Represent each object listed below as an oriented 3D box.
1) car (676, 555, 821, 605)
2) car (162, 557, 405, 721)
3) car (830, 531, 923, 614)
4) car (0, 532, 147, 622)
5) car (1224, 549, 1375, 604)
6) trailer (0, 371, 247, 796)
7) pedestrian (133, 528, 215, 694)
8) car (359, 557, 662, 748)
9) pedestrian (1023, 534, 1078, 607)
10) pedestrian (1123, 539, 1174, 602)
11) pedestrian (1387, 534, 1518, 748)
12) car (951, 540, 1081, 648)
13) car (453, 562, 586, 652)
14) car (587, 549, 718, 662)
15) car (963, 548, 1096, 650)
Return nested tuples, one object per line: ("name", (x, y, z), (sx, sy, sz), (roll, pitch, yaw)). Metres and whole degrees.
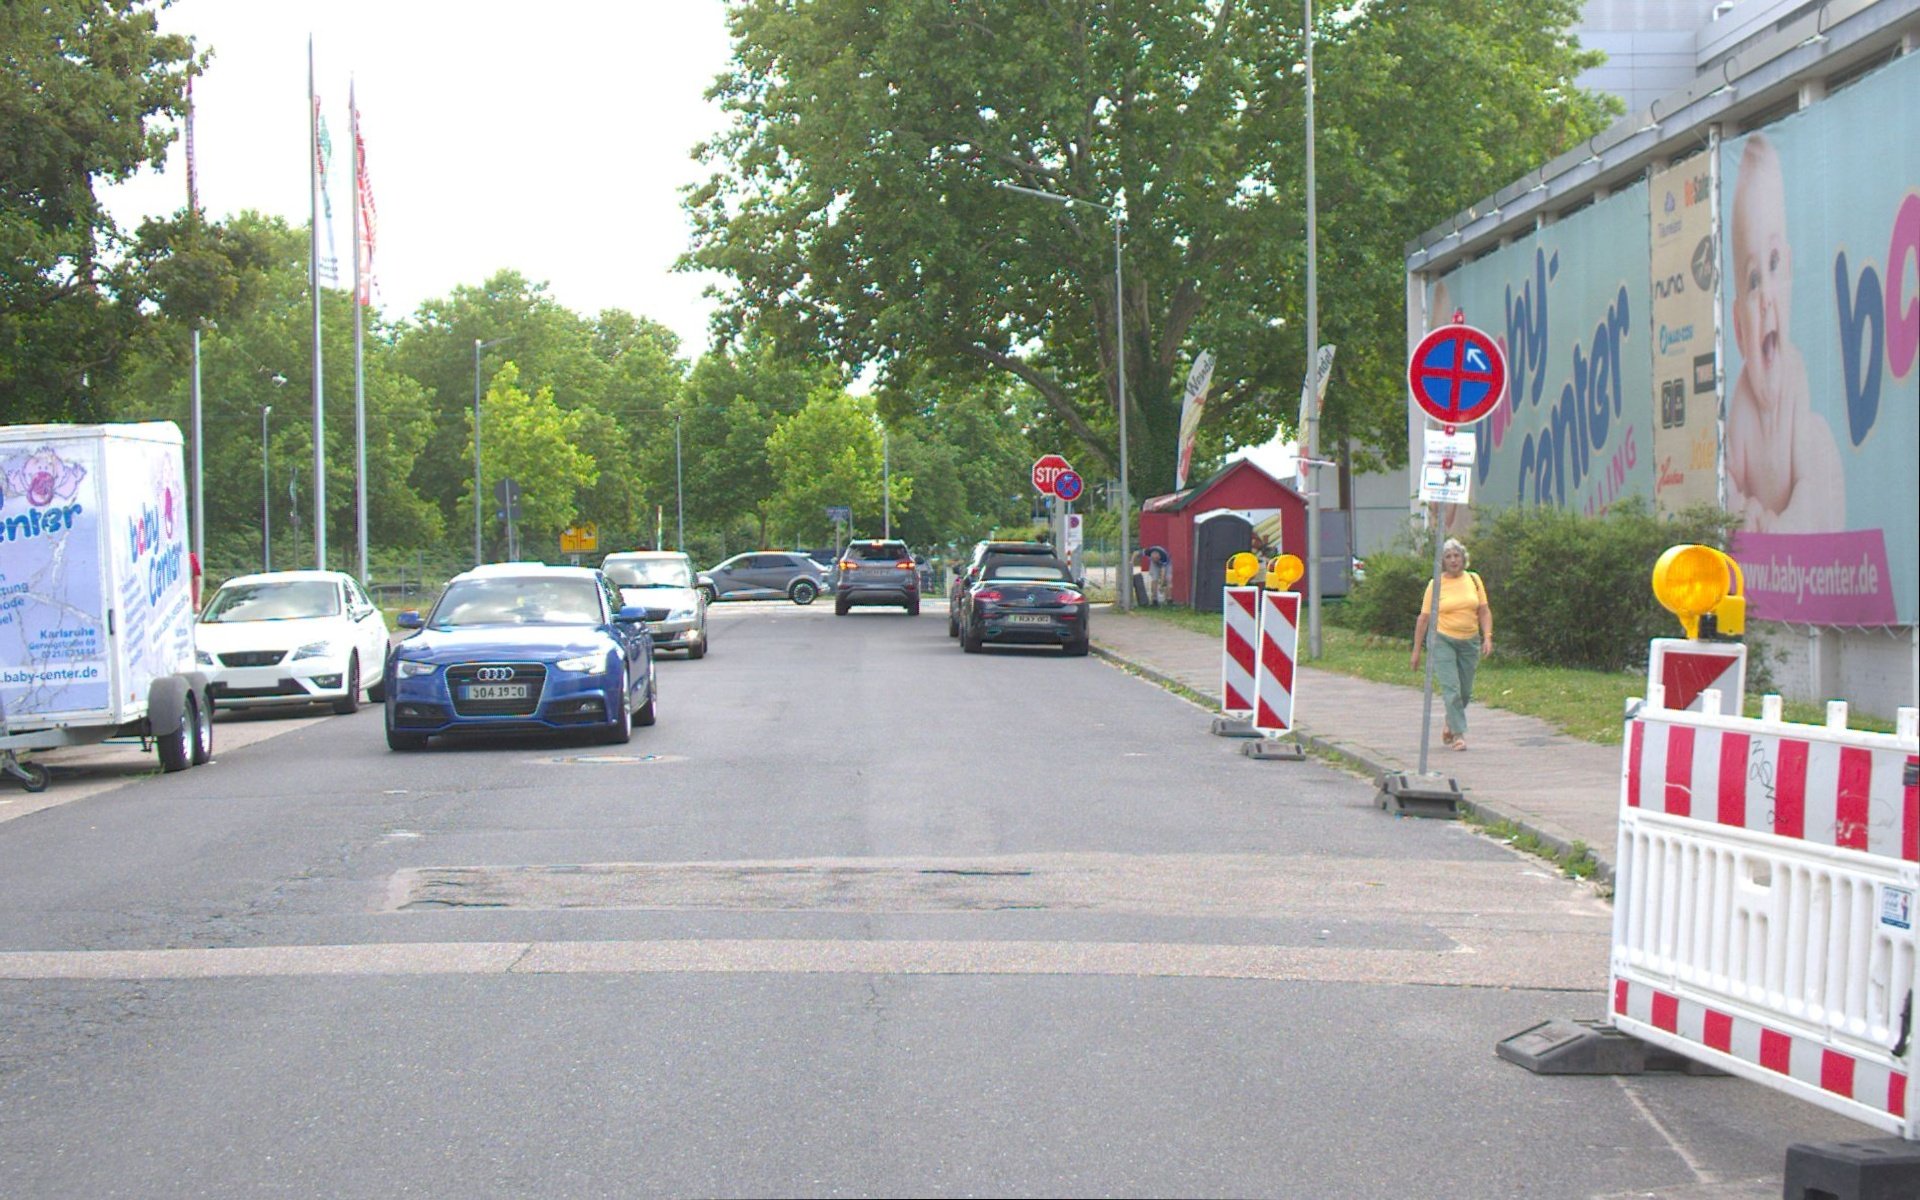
("car", (-6.250, -0.598, 101.771), (4.219, 1.401, 1.924), (-1, 1, -3))
("car", (-6.914, 0.355, 35.522), (1.765, 1.474, 4.236), (-3, 1, -3))
("car", (-1.922, -0.649, 78.078), (1.962, 1.809, 4.276), (-1, 1, -3))
("car", (-27.278, -0.680, 100.987), (6.382, 2.569, 2.206), (-1, 1, -7))
("car", (10.145, -0.710, 102.876), (4.219, 1.574, 1.924), (-1, 1, -3))
("trailer", (-6.755, -0.113, 25.059), (2.139, 2.773, 4.704), (-3, 1, -2))
("pedestrian", (-9.658, 0.129, 42.270), (0.809, 2.007, 0.885), (0, 0, -2))
("car", (-3.524, 0.364, 27.696), (1.923, 1.372, 4.380), (-1, 1, -1))
("pedestrian", (2.298, -0.751, 87.433), (1.000, 1.843, 1.230), (-1, 0, -19))
("pedestrian", (3.952, -0.620, 72.007), (1.014, 1.309, 0.964), (0, 0, 7))
("pedestrian", (3.604, 0.288, 25.221), (0.681, 1.528, 1.130), (-1, 0, -6))
("car", (0.893, -0.132, 57.253), (1.808, 1.659, 4.640), (2, 1, -3))
("car", (-7.690, 0.090, 60.330), (1.709, 1.415, 4.331), (-3, 1, 0))
("car", (-4.285, 0.050, 48.285), (1.590, 1.460, 3.762), (-2, 1, -2))
("car", (0.987, -0.046, 50.891), (1.808, 1.386, 4.588), (2, 1, 0))
